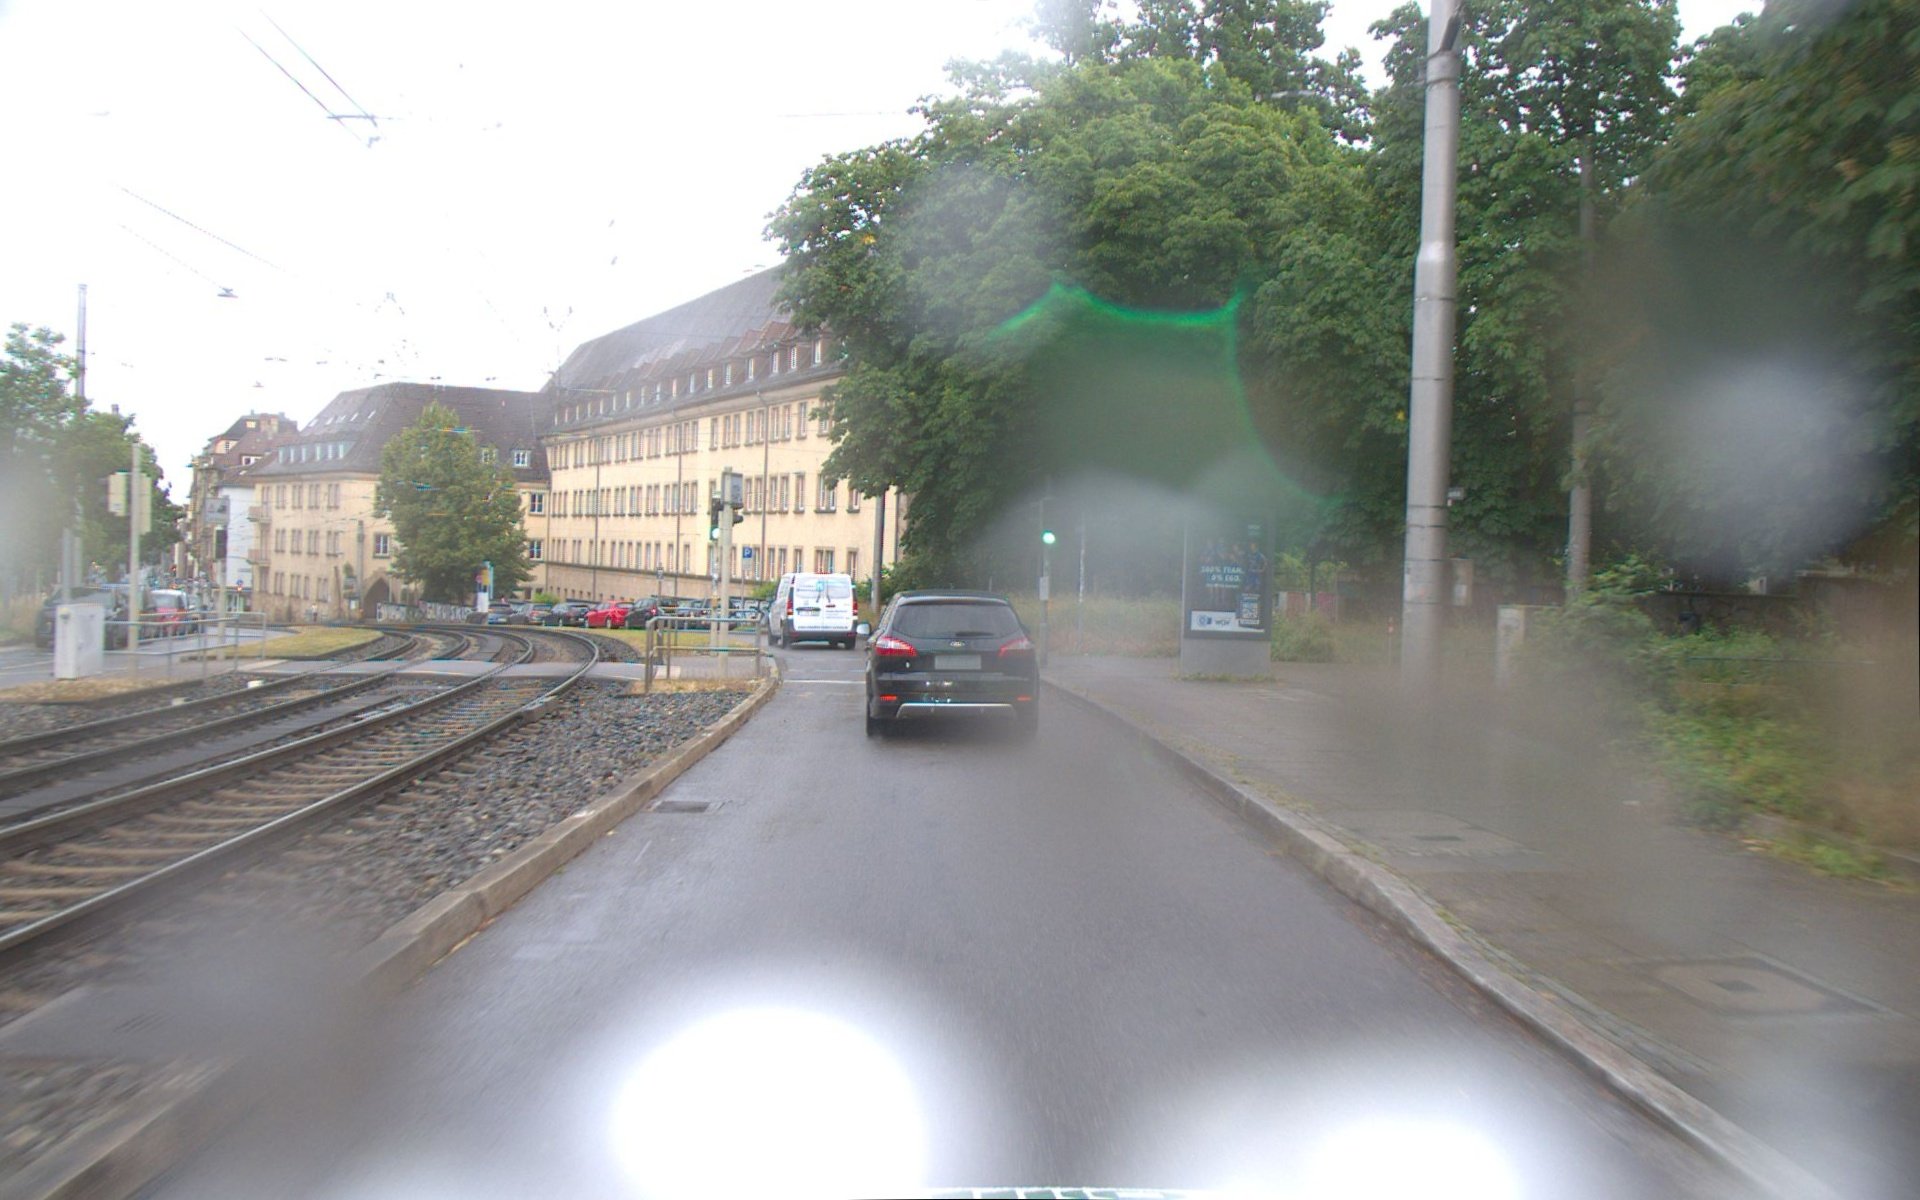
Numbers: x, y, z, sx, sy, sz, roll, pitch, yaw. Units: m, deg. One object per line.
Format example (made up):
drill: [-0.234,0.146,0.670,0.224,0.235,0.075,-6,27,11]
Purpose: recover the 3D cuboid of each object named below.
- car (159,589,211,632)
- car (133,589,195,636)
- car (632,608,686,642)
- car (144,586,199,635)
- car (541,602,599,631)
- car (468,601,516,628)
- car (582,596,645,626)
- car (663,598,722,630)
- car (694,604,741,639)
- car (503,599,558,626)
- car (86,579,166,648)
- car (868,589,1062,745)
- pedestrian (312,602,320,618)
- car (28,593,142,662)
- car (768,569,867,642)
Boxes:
car: [-31.616,0.451,67.536,1.708,1.673,4.499,1,-1,-23]
car: [-27.801,0.440,57.814,1.446,1.558,2.917,2,-1,-16]
car: [-14.836,1.214,81.387,1.645,1.600,3.823,-1,0,-26]
car: [-29.624,0.416,62.251,1.640,1.778,4.227,1,-1,-23]
car: [-21.292,0.891,90.171,1.651,1.502,4.404,-1,0,-34]
car: [-28.192,0.877,99.571,1.651,1.551,4.060,-1,0,-34]
car: [-18.051,0.565,86.023,1.654,1.502,4.010,1,-1,-38]
car: [-12.382,0.631,76.401,1.519,1.441,3.608,-1,0,-29]
car: [-10.677,0.921,72.797,1.574,1.491,2.705,-1,0,-19]
car: [-24.677,0.705,94.978,1.653,1.502,4.055,-1,0,-36]
car: [-24.496,0.400,48.697,1.558,1.892,4.306,2,-1,-20]
car: [0.023,0.638,18.074,1.881,1.505,3.999,0,0,-1]
pedestrian: [-53.126,0.803,136.442,0.501,1.338,0.504,1,-1,-37]
car: [-22.910,0.715,43.473,1.964,1.633,4.190,3,-2,-20]
car: [-3.719,0.107,42.492,2.099,1.776,4.206,0,0,-11]
